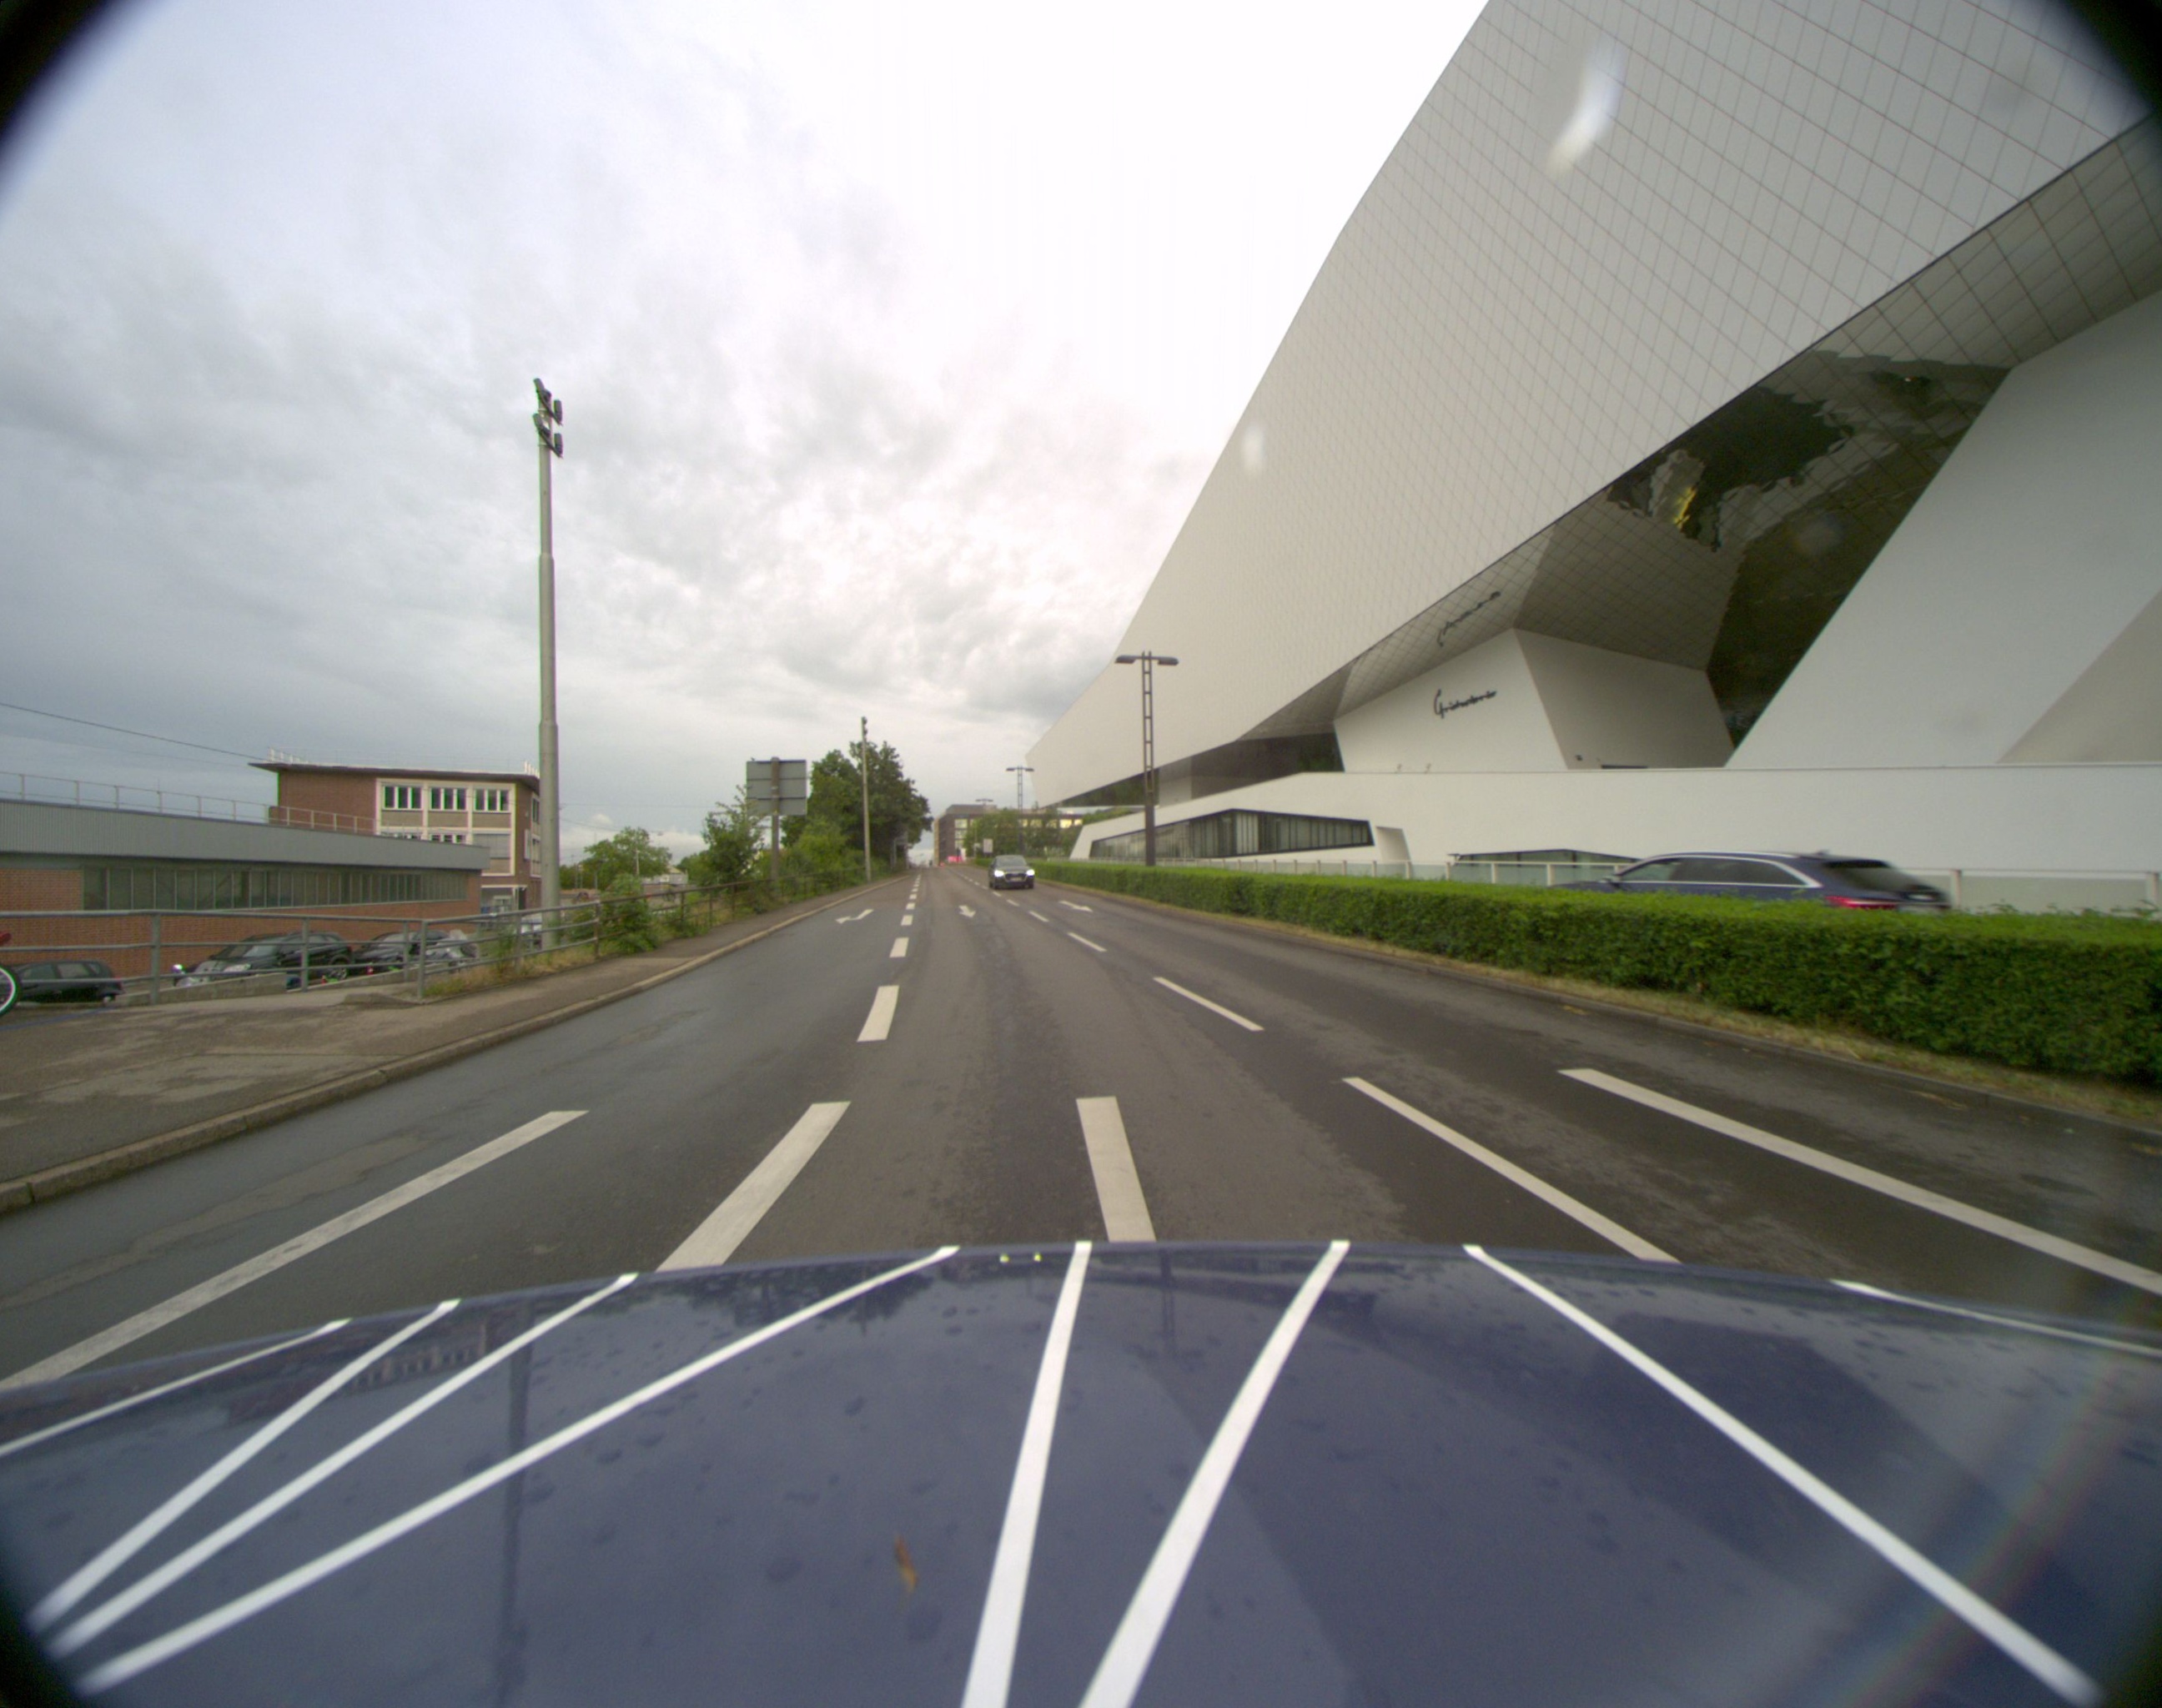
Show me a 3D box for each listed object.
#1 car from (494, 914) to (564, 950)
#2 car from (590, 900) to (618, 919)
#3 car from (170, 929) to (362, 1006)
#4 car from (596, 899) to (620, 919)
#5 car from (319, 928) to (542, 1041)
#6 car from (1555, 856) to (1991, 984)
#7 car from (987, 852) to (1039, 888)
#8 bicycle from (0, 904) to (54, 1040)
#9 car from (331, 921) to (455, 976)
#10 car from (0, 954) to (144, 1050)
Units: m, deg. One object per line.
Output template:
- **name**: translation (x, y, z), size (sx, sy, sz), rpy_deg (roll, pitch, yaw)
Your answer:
- **car**: translation (-29.984, 4.213, 41.409), size (1.704, 1.546, 3.852), rpy_deg (-1, 0, -14)
- **car**: translation (-42.097, 4.855, 67.143), size (1.670, 1.387, 3.992), rpy_deg (-2, 0, -27)
- **car**: translation (-24.349, 3.321, 22.979), size (1.638, 1.621, 4.425), rpy_deg (-1, 0, -12)
- **car**: translation (-44.264, 5.104, 71.118), size (1.750, 1.516, 4.440), rpy_deg (-3, 1, -31)
- **car**: translation (-12.795, 2.472, 15.296), size (1.704, 1.546, 3.853), rpy_deg (-1, 0, -12)
- **car**: translation (8.897, 0.721, 10.292), size (1.852, 1.330, 3.995), rpy_deg (-1, 0, -15)
- **car**: translation (-3.289, 0.723, 36.075), size (1.843, 1.574, 4.284), rpy_deg (-1, 0, -13)
- **bicycle**: translation (-10.547, 1.067, 6.546), size (1.935, 1.171, 0.598), rpy_deg (-1, 1, -27)
- **car**: translation (-25.726, 3.481, 28.599), size (1.704, 1.546, 3.853), rpy_deg (-1, 0, -12)
- **car**: translation (-23.200, 3.237, 16.318), size (1.704, 1.618, 3.927), rpy_deg (-1, 0, -11)
